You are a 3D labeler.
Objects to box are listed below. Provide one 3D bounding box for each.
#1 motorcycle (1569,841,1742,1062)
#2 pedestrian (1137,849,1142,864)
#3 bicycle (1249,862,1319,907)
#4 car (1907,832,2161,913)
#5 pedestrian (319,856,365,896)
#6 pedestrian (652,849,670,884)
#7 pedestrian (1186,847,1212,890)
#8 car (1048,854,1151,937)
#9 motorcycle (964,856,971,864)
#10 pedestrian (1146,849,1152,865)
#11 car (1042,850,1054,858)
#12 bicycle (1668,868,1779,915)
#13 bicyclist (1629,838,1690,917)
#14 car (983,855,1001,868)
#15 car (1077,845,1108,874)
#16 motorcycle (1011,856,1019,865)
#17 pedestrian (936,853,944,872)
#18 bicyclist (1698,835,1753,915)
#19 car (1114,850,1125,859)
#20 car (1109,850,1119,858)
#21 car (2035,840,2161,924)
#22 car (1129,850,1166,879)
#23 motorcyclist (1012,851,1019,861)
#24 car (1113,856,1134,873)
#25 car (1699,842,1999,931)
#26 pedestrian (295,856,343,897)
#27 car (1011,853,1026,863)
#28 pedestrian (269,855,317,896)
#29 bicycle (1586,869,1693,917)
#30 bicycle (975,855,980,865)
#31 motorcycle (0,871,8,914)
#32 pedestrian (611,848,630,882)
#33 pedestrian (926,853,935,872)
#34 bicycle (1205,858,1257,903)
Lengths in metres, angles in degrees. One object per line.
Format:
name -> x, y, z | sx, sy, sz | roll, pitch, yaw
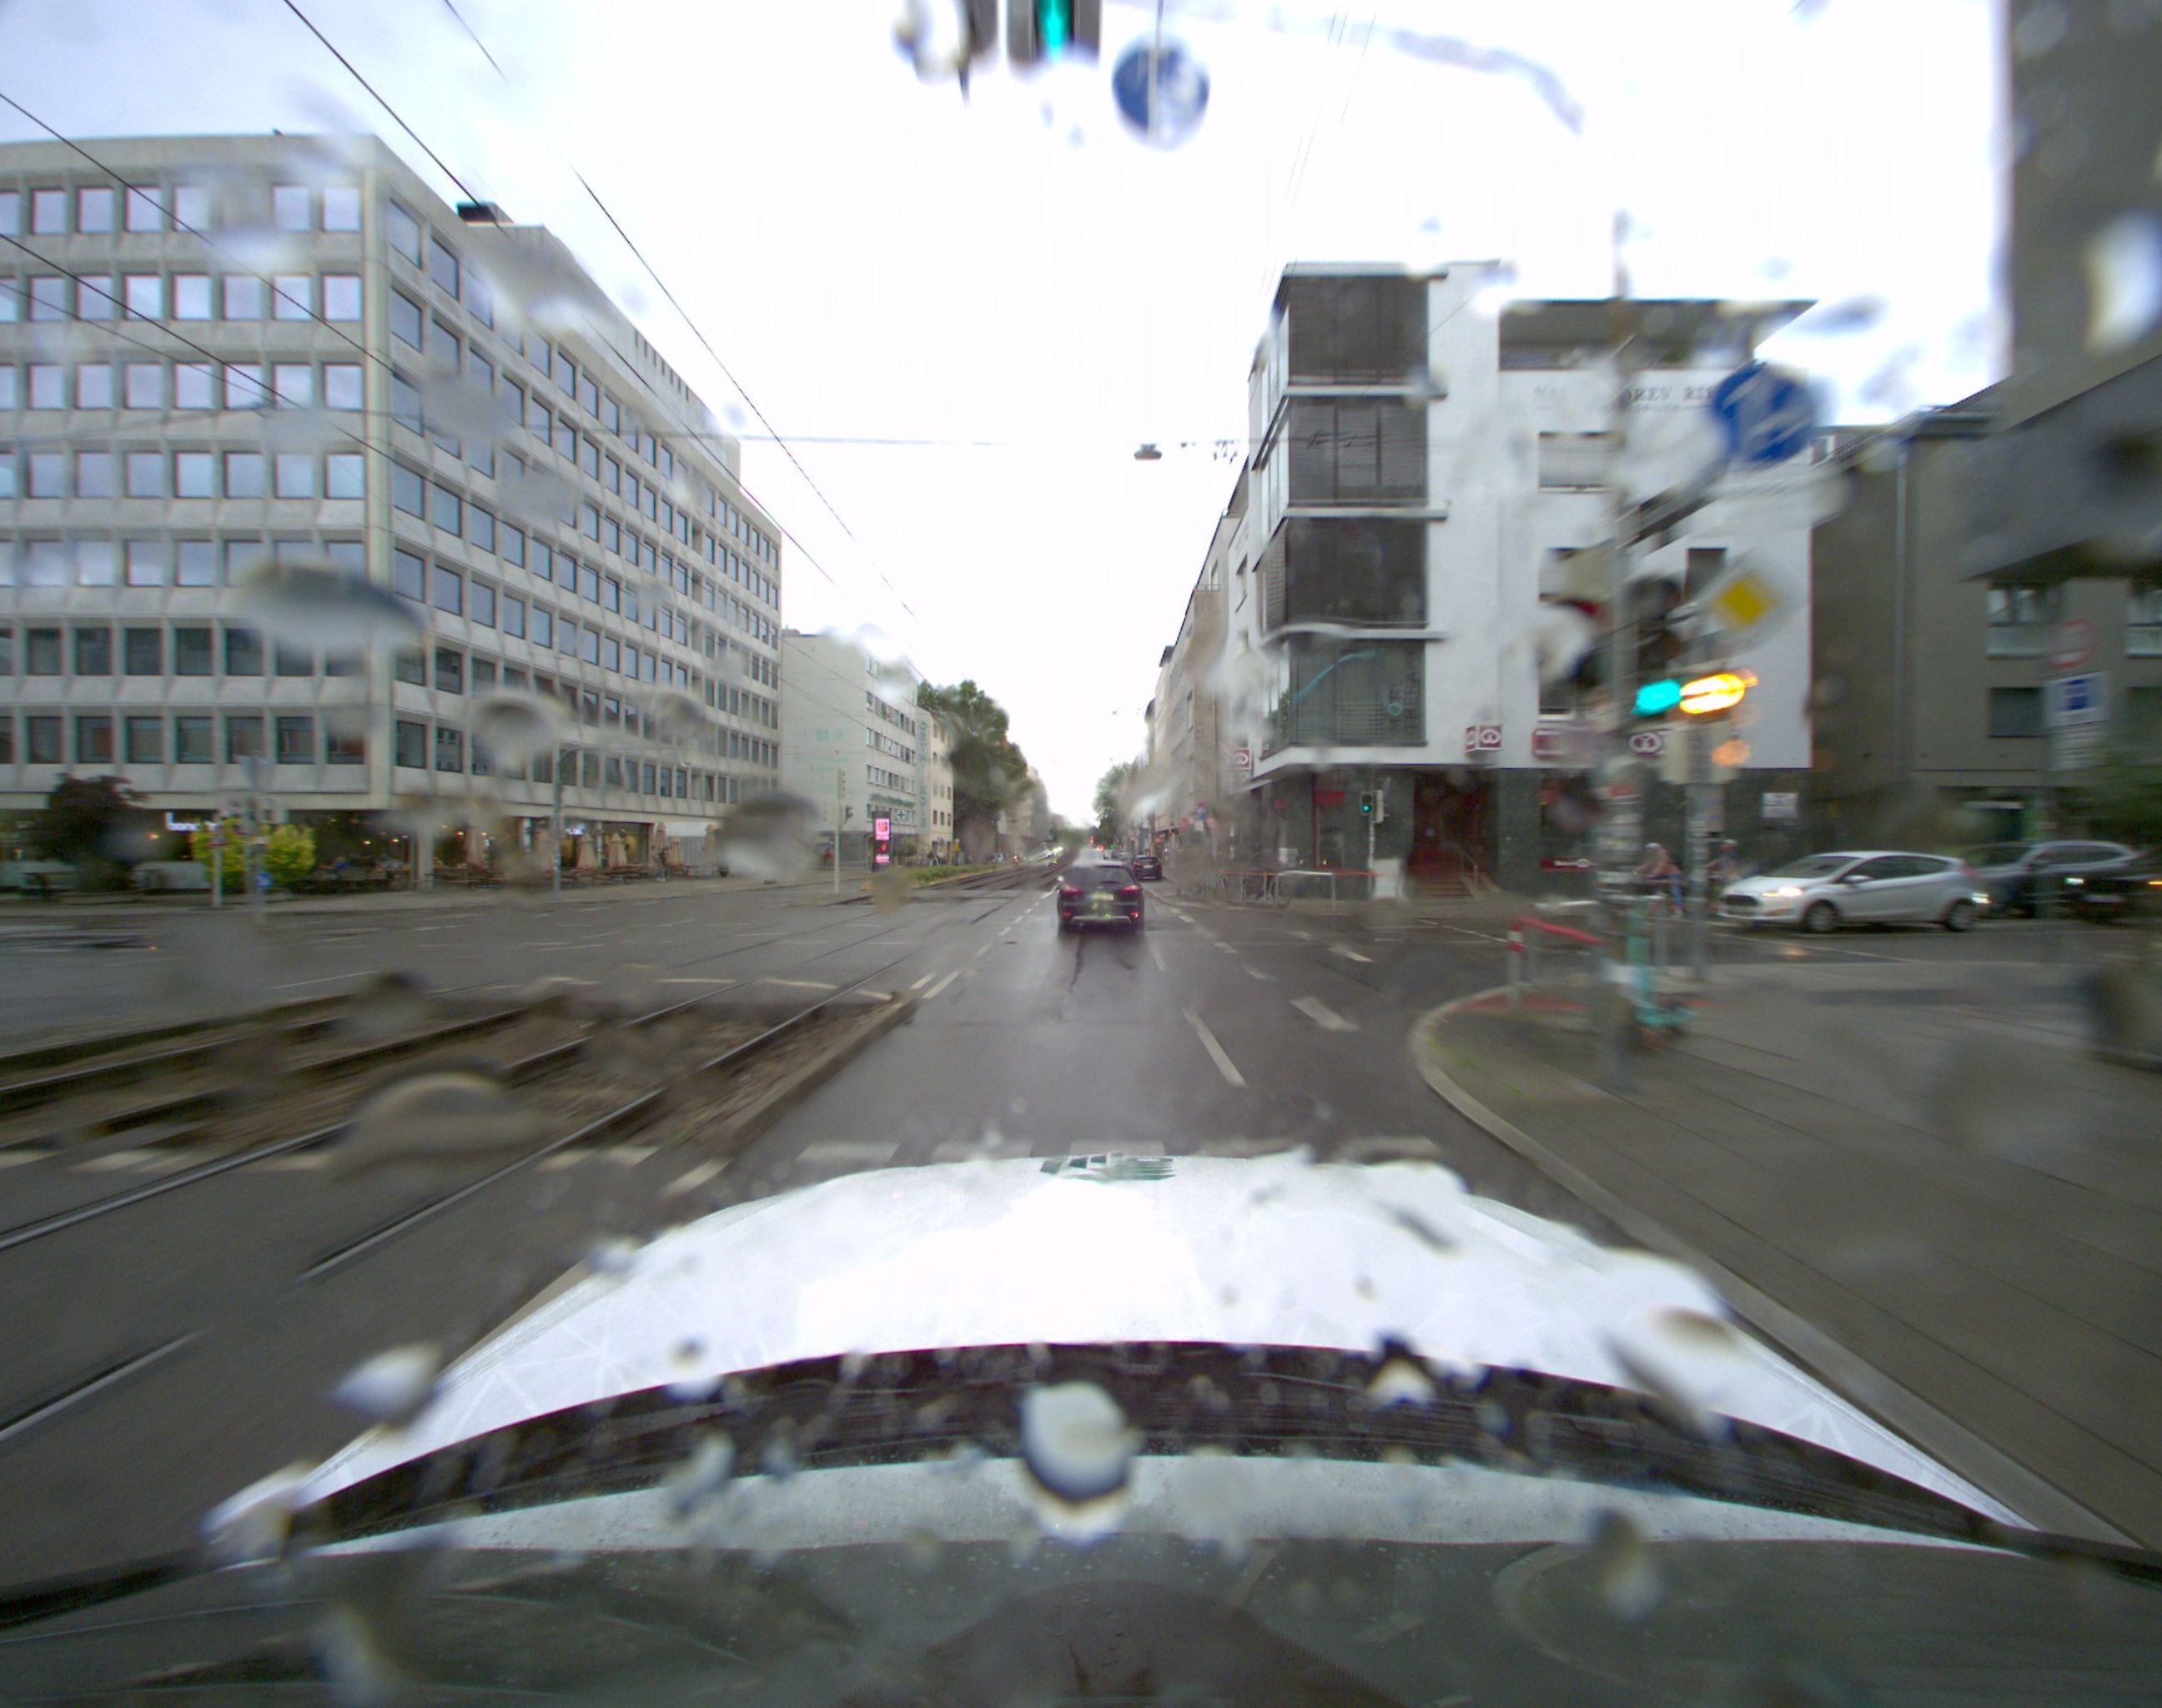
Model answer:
motorcycle -> 4.240, 0.642, 6.005 | 1.137, 1.461, 0.676 | -1, -1, -35
pedestrian -> 7.612, 0.333, 106.289 | 0.659, 1.852, 0.821 | 0, 1, 0
bicycle -> 5.465, 0.801, 22.000 | 0.580, 1.157, 1.935 | 0, 0, -35
car -> 21.072, 0.382, 17.845 | 4.064, 1.640, 1.880 | -1, 0, 0
pedestrian -> -29.119, 0.851, 32.105 | 0.891, 1.532, 0.965 | 0, 0, 0
pedestrian -> -21.951, 0.639, 42.589 | 0.563, 1.822, 0.843 | 0, 0, -3
pedestrian -> 4.473, 0.544, 30.931 | 0.662, 1.582, 0.774 | -1, 0, -21
car -> 0.432, 0.823, 17.977 | 1.986, 1.594, 4.273 | -1, -1, 2
motorcycle -> -15.477, 0.830, 110.805 | 0.637, 1.033, 2.119 | 0, 0, 0
pedestrian -> 8.919, 0.364, 106.374 | 0.733, 2.013, 0.821 | 0, 1, 0
car -> -6.379, 0.028, 158.830 | 1.986, 1.519, 4.445 | 0, -1, 2
bicycle -> 14.722, 0.854, 18.696 | 1.974, 1.010, 0.755 | -1, 0, -1
bicyclist -> 13.184, 0.532, 18.583 | 0.837, 1.746, 0.756 | -1, 0, -1
car -> -11.179, 0.946, 102.697 | 1.737, 1.468, 4.221 | -2, 0, 1
car -> 0.799, 0.383, 55.216 | 1.986, 1.816, 4.273 | -1, -1, 2
motorcycle -> -8.076, 0.814, 99.854 | 0.739, 1.059, 1.933 | 0, 0, 3
pedestrian -> -14.171, 0.824, 81.910 | 0.676, 1.896, 0.743 | 0, 0, 1
bicyclist -> 14.799, 0.480, 18.705 | 0.631, 1.791, 0.757 | -1, 0, 0
car -> 6.730, 0.144, 143.265 | 1.733, 1.489, 4.001 | 0, 1, 1
car -> 6.023, -0.002, 147.810 | 1.637, 1.516, 4.039 | 0, 1, 1
car -> 20.946, 0.468, 15.302 | 4.064, 1.487, 1.722 | -1, 0, -1
car -> 3.896, 0.623, 48.536 | 1.986, 1.594, 4.273 | -1, -1, 2
motorcyclist -> -8.072, 0.304, 99.806 | 0.738, 1.217, 0.971 | 0, 0, 3
car -> 4.172, 0.988, 80.210 | 1.986, 1.594, 4.573 | -1, -1, 2
car -> 14.077, 0.573, 15.095 | 3.954, 1.487, 1.722 | -1, 0, -1
pedestrian -> -29.126, 0.835, 31.131 | 0.958, 1.532, 0.897 | 0, 0, 1
car -> -10.403, 0.657, 136.141 | 1.986, 1.519, 4.436 | 0, 0, 1
pedestrian -> -30.361, 0.824, 31.397 | 0.959, 1.532, 0.897 | 0, 0, 0
bicycle -> 12.717, 0.878, 18.571 | 1.919, 1.010, 0.755 | -1, 0, -1
bicycle -> -12.694, 0.745, 99.881 | 0.590, 1.226, 2.399 | 0, 0, -6
motorcycle -> -43.263, 1.547, 31.510 | 0.877, 1.718, 2.073 | -1, 0, -8
pedestrian -> -24.292, 0.569, 42.951 | 0.563, 1.748, 0.843 | 0, 0, -3
pedestrian -> -15.158, 0.871, 82.149 | 0.724, 1.896, 0.983 | 0, 0, 1
bicycle -> 4.347, 0.752, 23.700 | 0.499, 1.259, 1.941 | 0, 0, -23
